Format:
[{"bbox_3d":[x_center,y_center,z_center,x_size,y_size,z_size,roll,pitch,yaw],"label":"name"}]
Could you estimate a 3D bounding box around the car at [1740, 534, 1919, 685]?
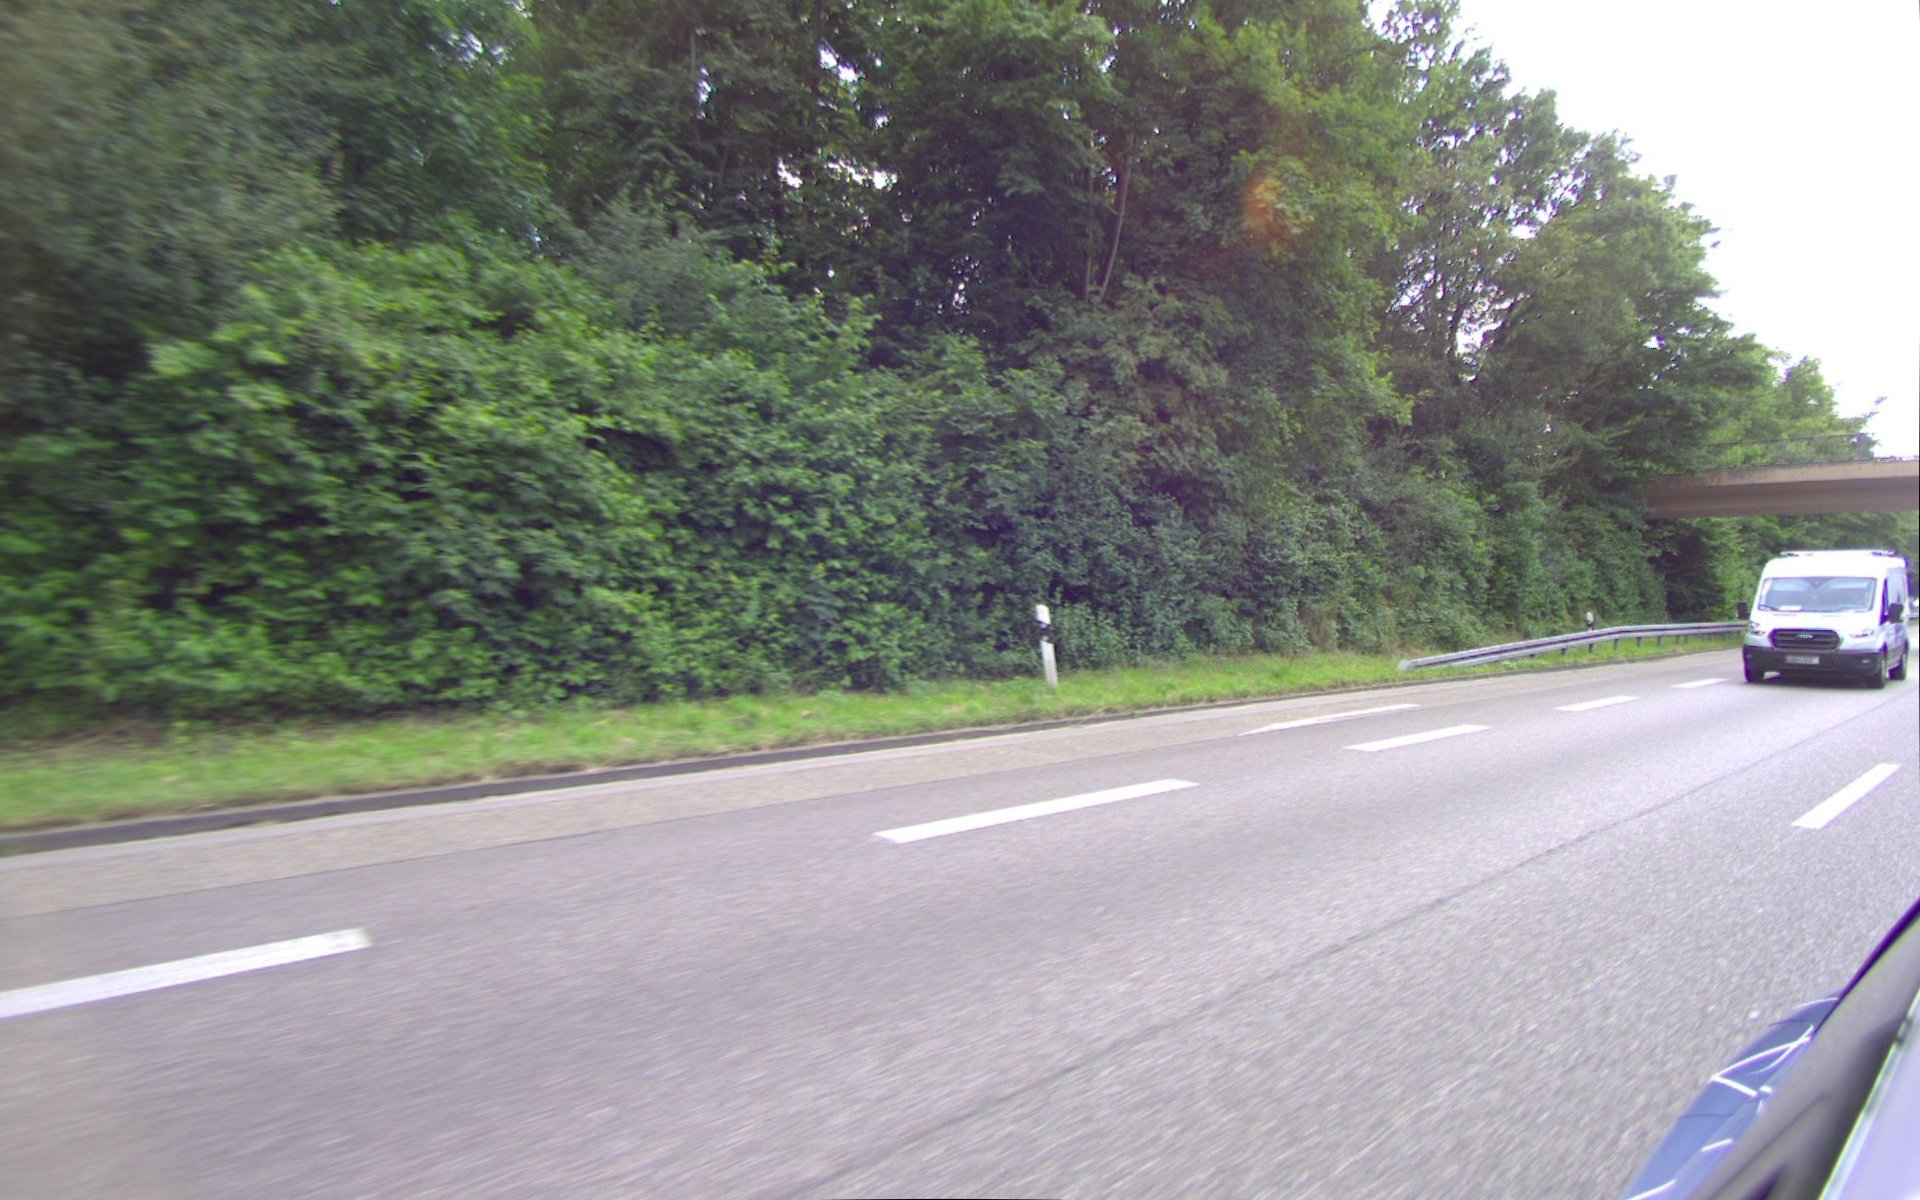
[{"bbox_3d":[17.038,0.160,19.566,5.186,2.539,2.102,0,0,-41],"label":"car"}]
